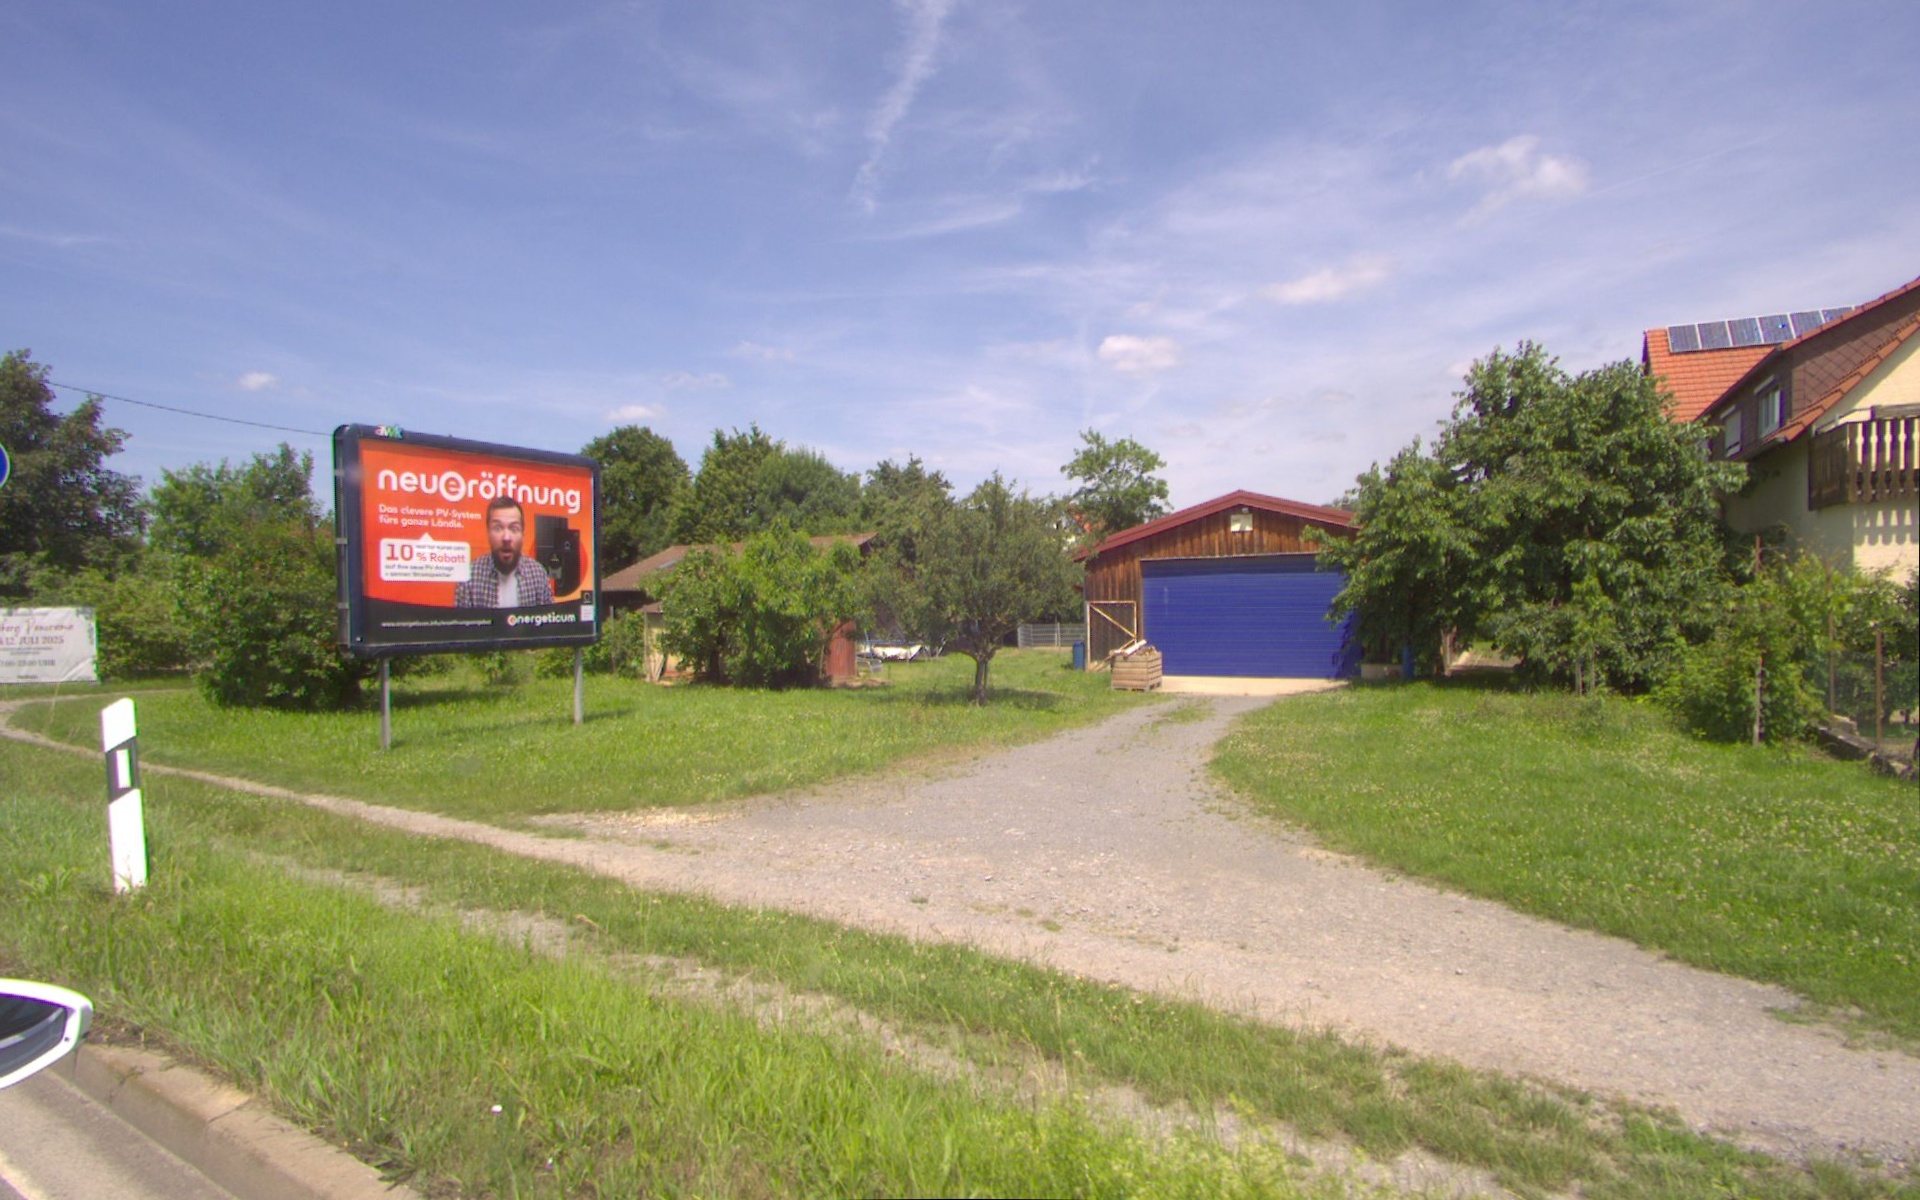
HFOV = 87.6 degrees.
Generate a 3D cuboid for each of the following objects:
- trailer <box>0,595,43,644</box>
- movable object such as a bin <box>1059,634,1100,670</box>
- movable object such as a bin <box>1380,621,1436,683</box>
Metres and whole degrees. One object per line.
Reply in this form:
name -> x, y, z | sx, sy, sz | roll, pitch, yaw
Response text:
trailer -> -98.211, 1.946, 101.648 | 5.129, 4.688, 15.794 | 1, -1, -34
movable object such as a bin -> 3.592, 1.548, 30.077 | 1.044, 1.046, 1.040 | 0, -1, 17
movable object such as a bin -> 10.740, 1.219, 23.979 | 1.049, 1.415, 1.271 | 0, -1, 33
